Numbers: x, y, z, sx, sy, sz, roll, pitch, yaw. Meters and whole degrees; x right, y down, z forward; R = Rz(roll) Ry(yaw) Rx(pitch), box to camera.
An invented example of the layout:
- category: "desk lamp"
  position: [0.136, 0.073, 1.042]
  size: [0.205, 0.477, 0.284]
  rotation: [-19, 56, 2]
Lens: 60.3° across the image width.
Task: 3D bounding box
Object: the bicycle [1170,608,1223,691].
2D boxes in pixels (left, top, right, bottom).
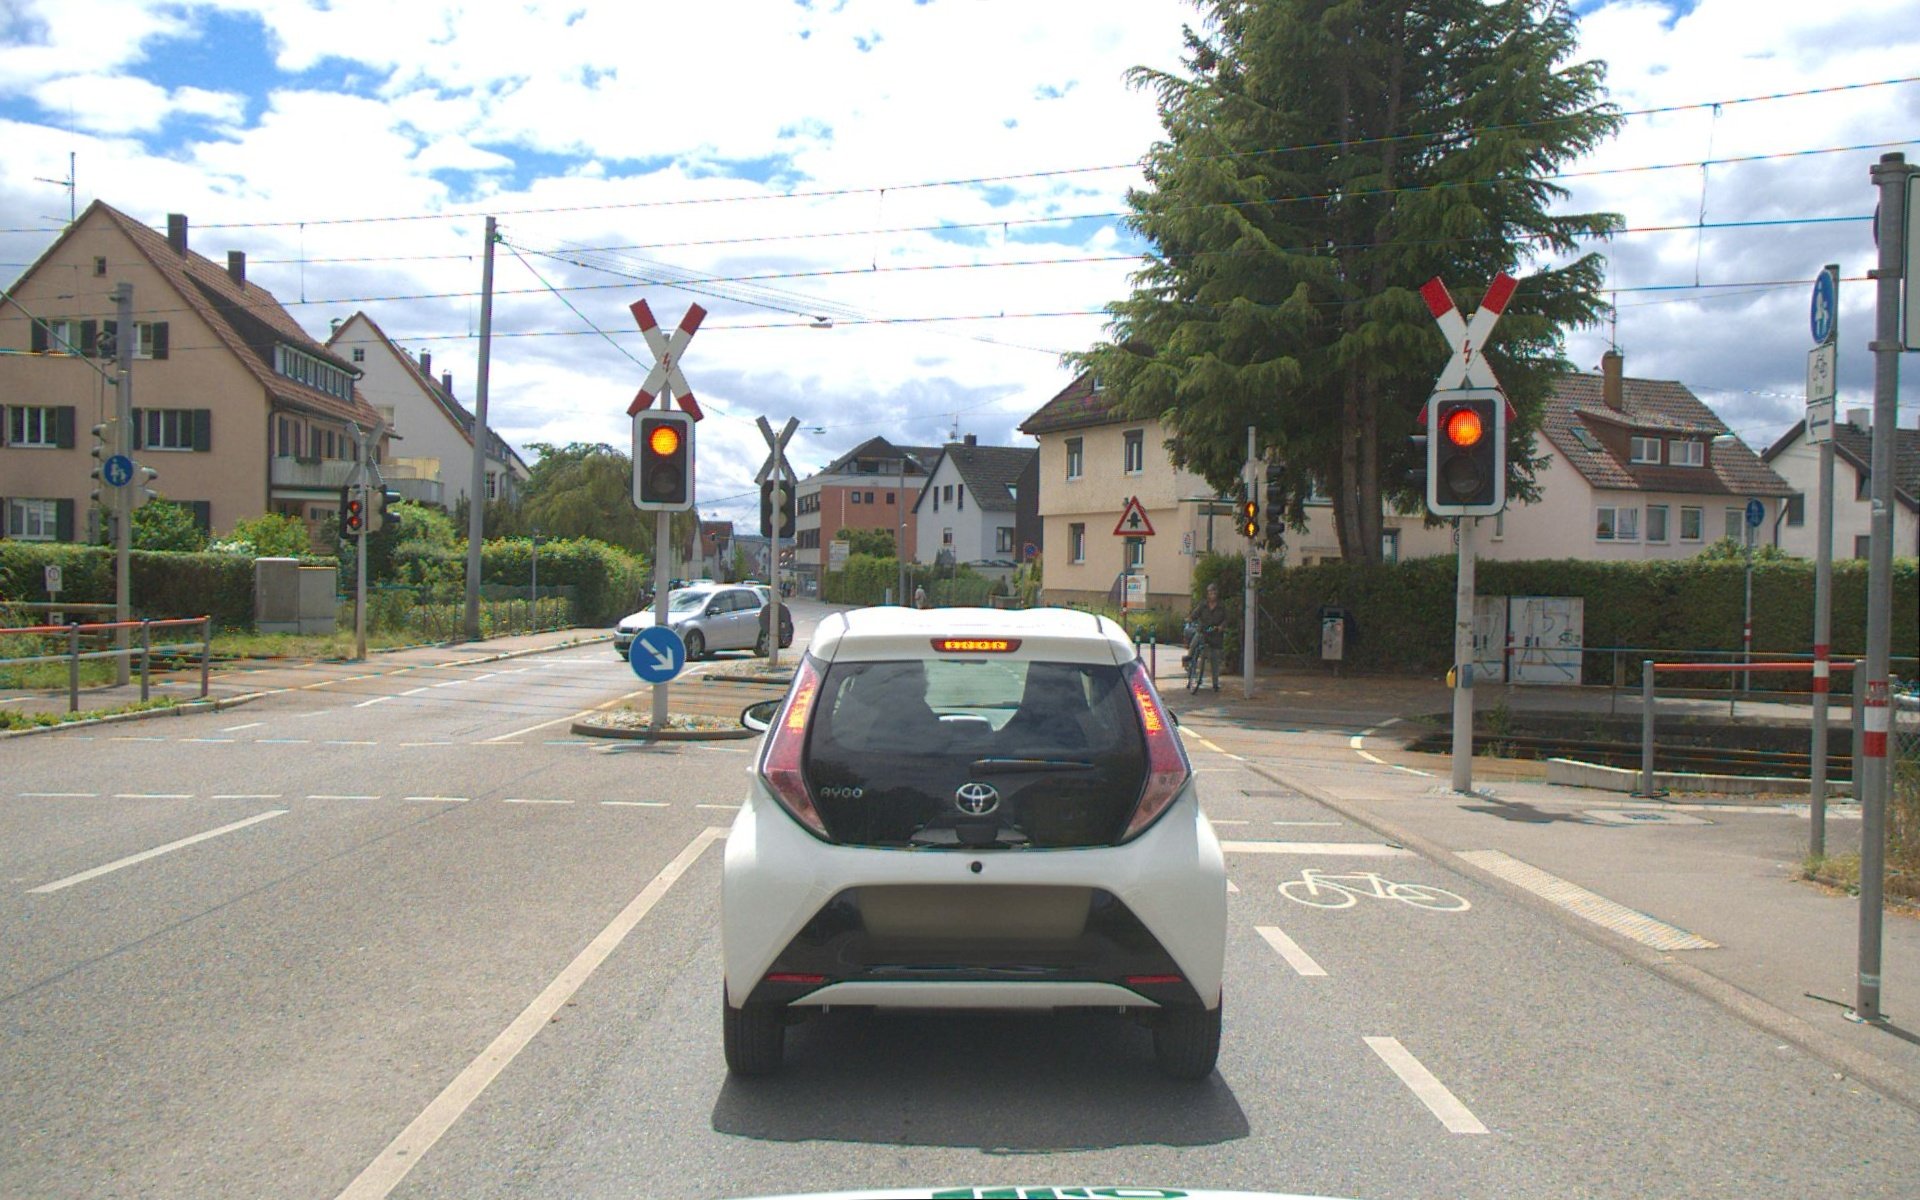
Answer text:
- category: "bicycle"
  position: [3.740, 0.763, 26.209]
  size: [0.448, 1.192, 1.477]
  rotation: [-2, 3, -6]

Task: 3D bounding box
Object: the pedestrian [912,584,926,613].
- category: "pedestrian"
  position: [-2.278, -0.106, 92.736]
  size: [0.711, 1.604, 0.803]
  rotation: [2, 0, -1]

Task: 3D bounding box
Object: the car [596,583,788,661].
- category: "car"
  position: [-5.493, 0.447, 34.448]
  size: [1.868, 1.466, 4.093]
  rotation: [2, 0, 27]

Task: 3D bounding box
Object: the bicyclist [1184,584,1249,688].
- category: "bicyclist"
  position: [4.061, 0.557, 26.251]
  size: [0.825, 1.580, 0.755]
  rotation: [-2, 3, -7]

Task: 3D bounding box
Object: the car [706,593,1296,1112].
- category: "car"
  position: [0.000, 0.723, 6.611]
  size: [1.687, 1.467, 3.705]
  rotation: [1, 0, -4]
